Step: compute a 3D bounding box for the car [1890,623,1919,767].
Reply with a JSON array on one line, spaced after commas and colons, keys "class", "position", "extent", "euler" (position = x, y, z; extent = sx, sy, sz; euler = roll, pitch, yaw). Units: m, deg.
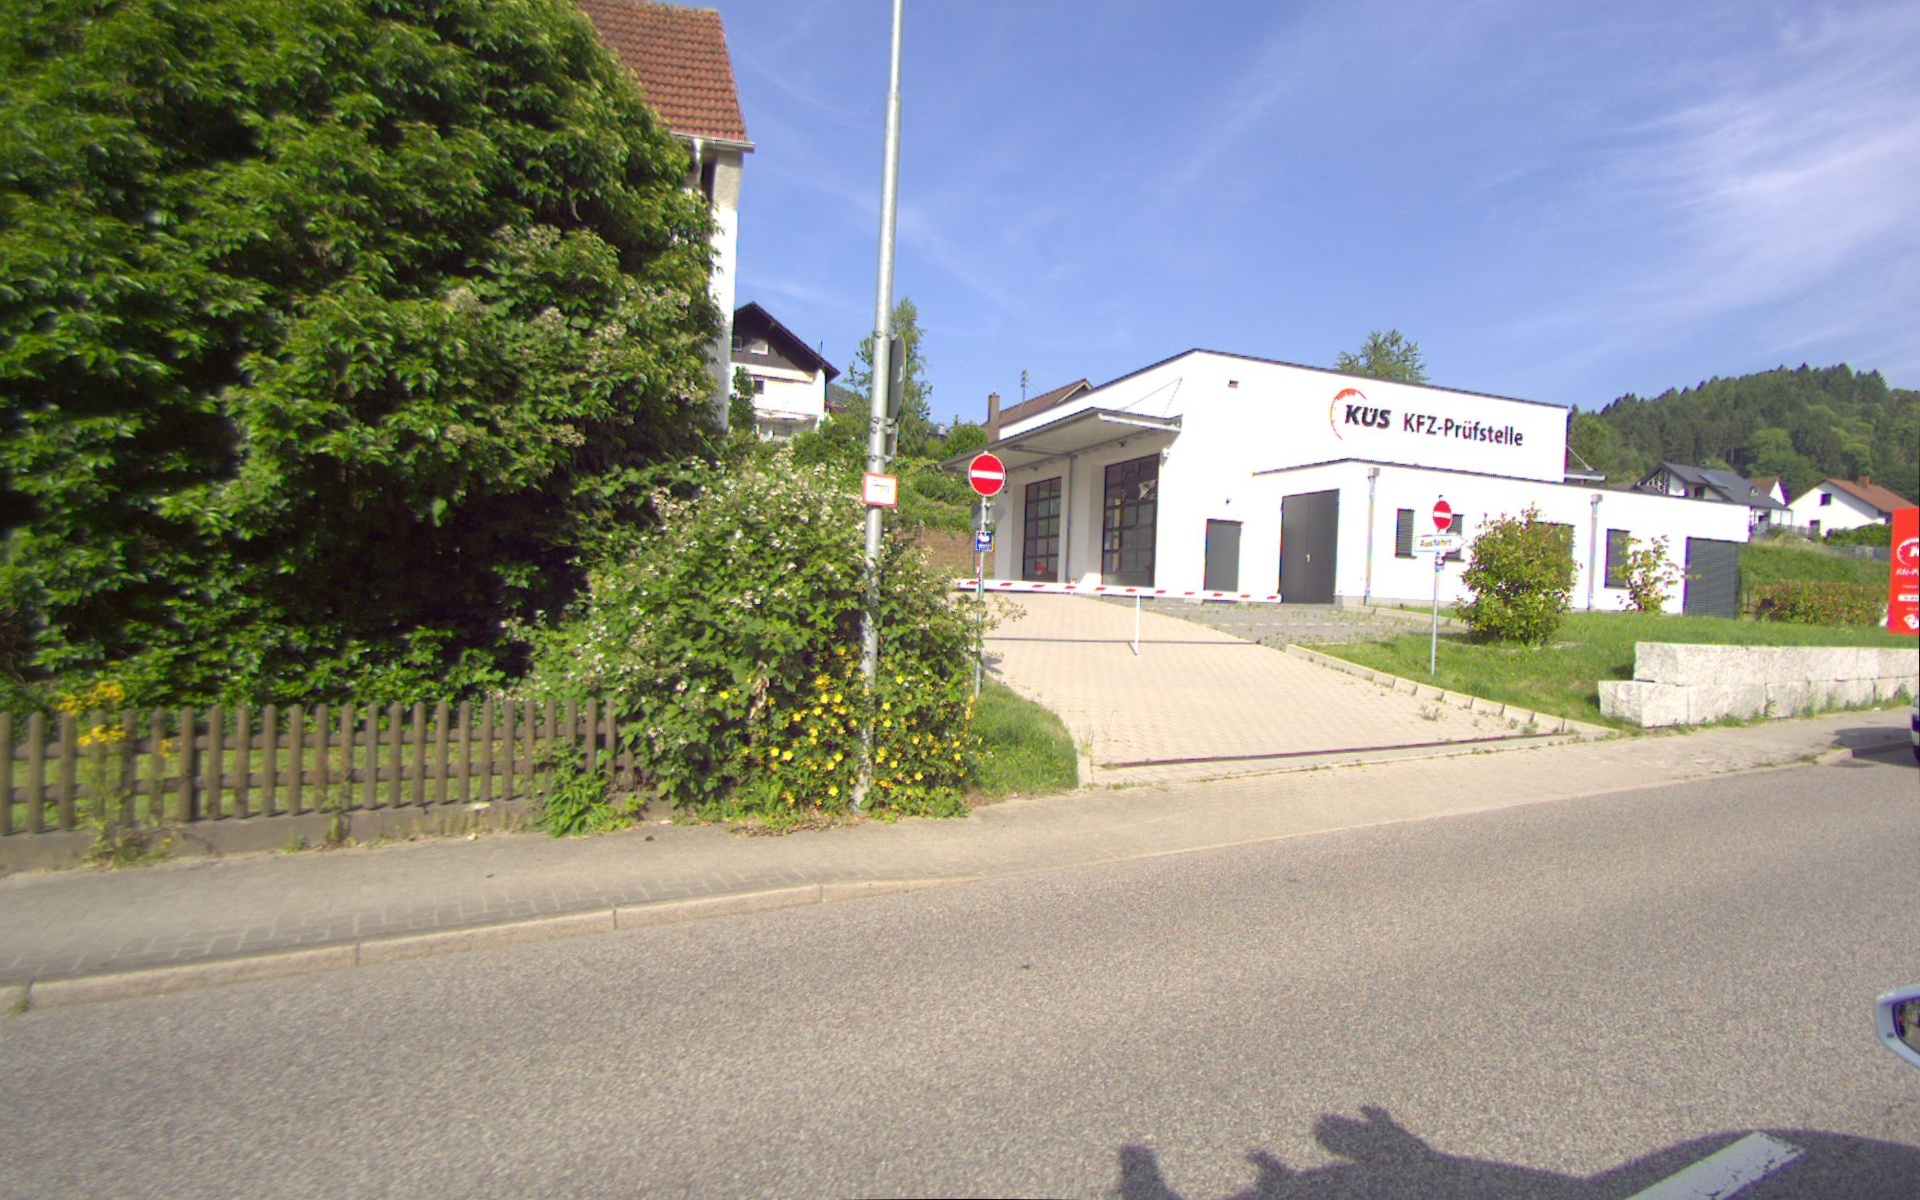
[{"class": "car", "position": [12.253, 1.050, 11.181], "extent": [4.143, 1.524, 1.740], "euler": [1, -1, -31]}]
